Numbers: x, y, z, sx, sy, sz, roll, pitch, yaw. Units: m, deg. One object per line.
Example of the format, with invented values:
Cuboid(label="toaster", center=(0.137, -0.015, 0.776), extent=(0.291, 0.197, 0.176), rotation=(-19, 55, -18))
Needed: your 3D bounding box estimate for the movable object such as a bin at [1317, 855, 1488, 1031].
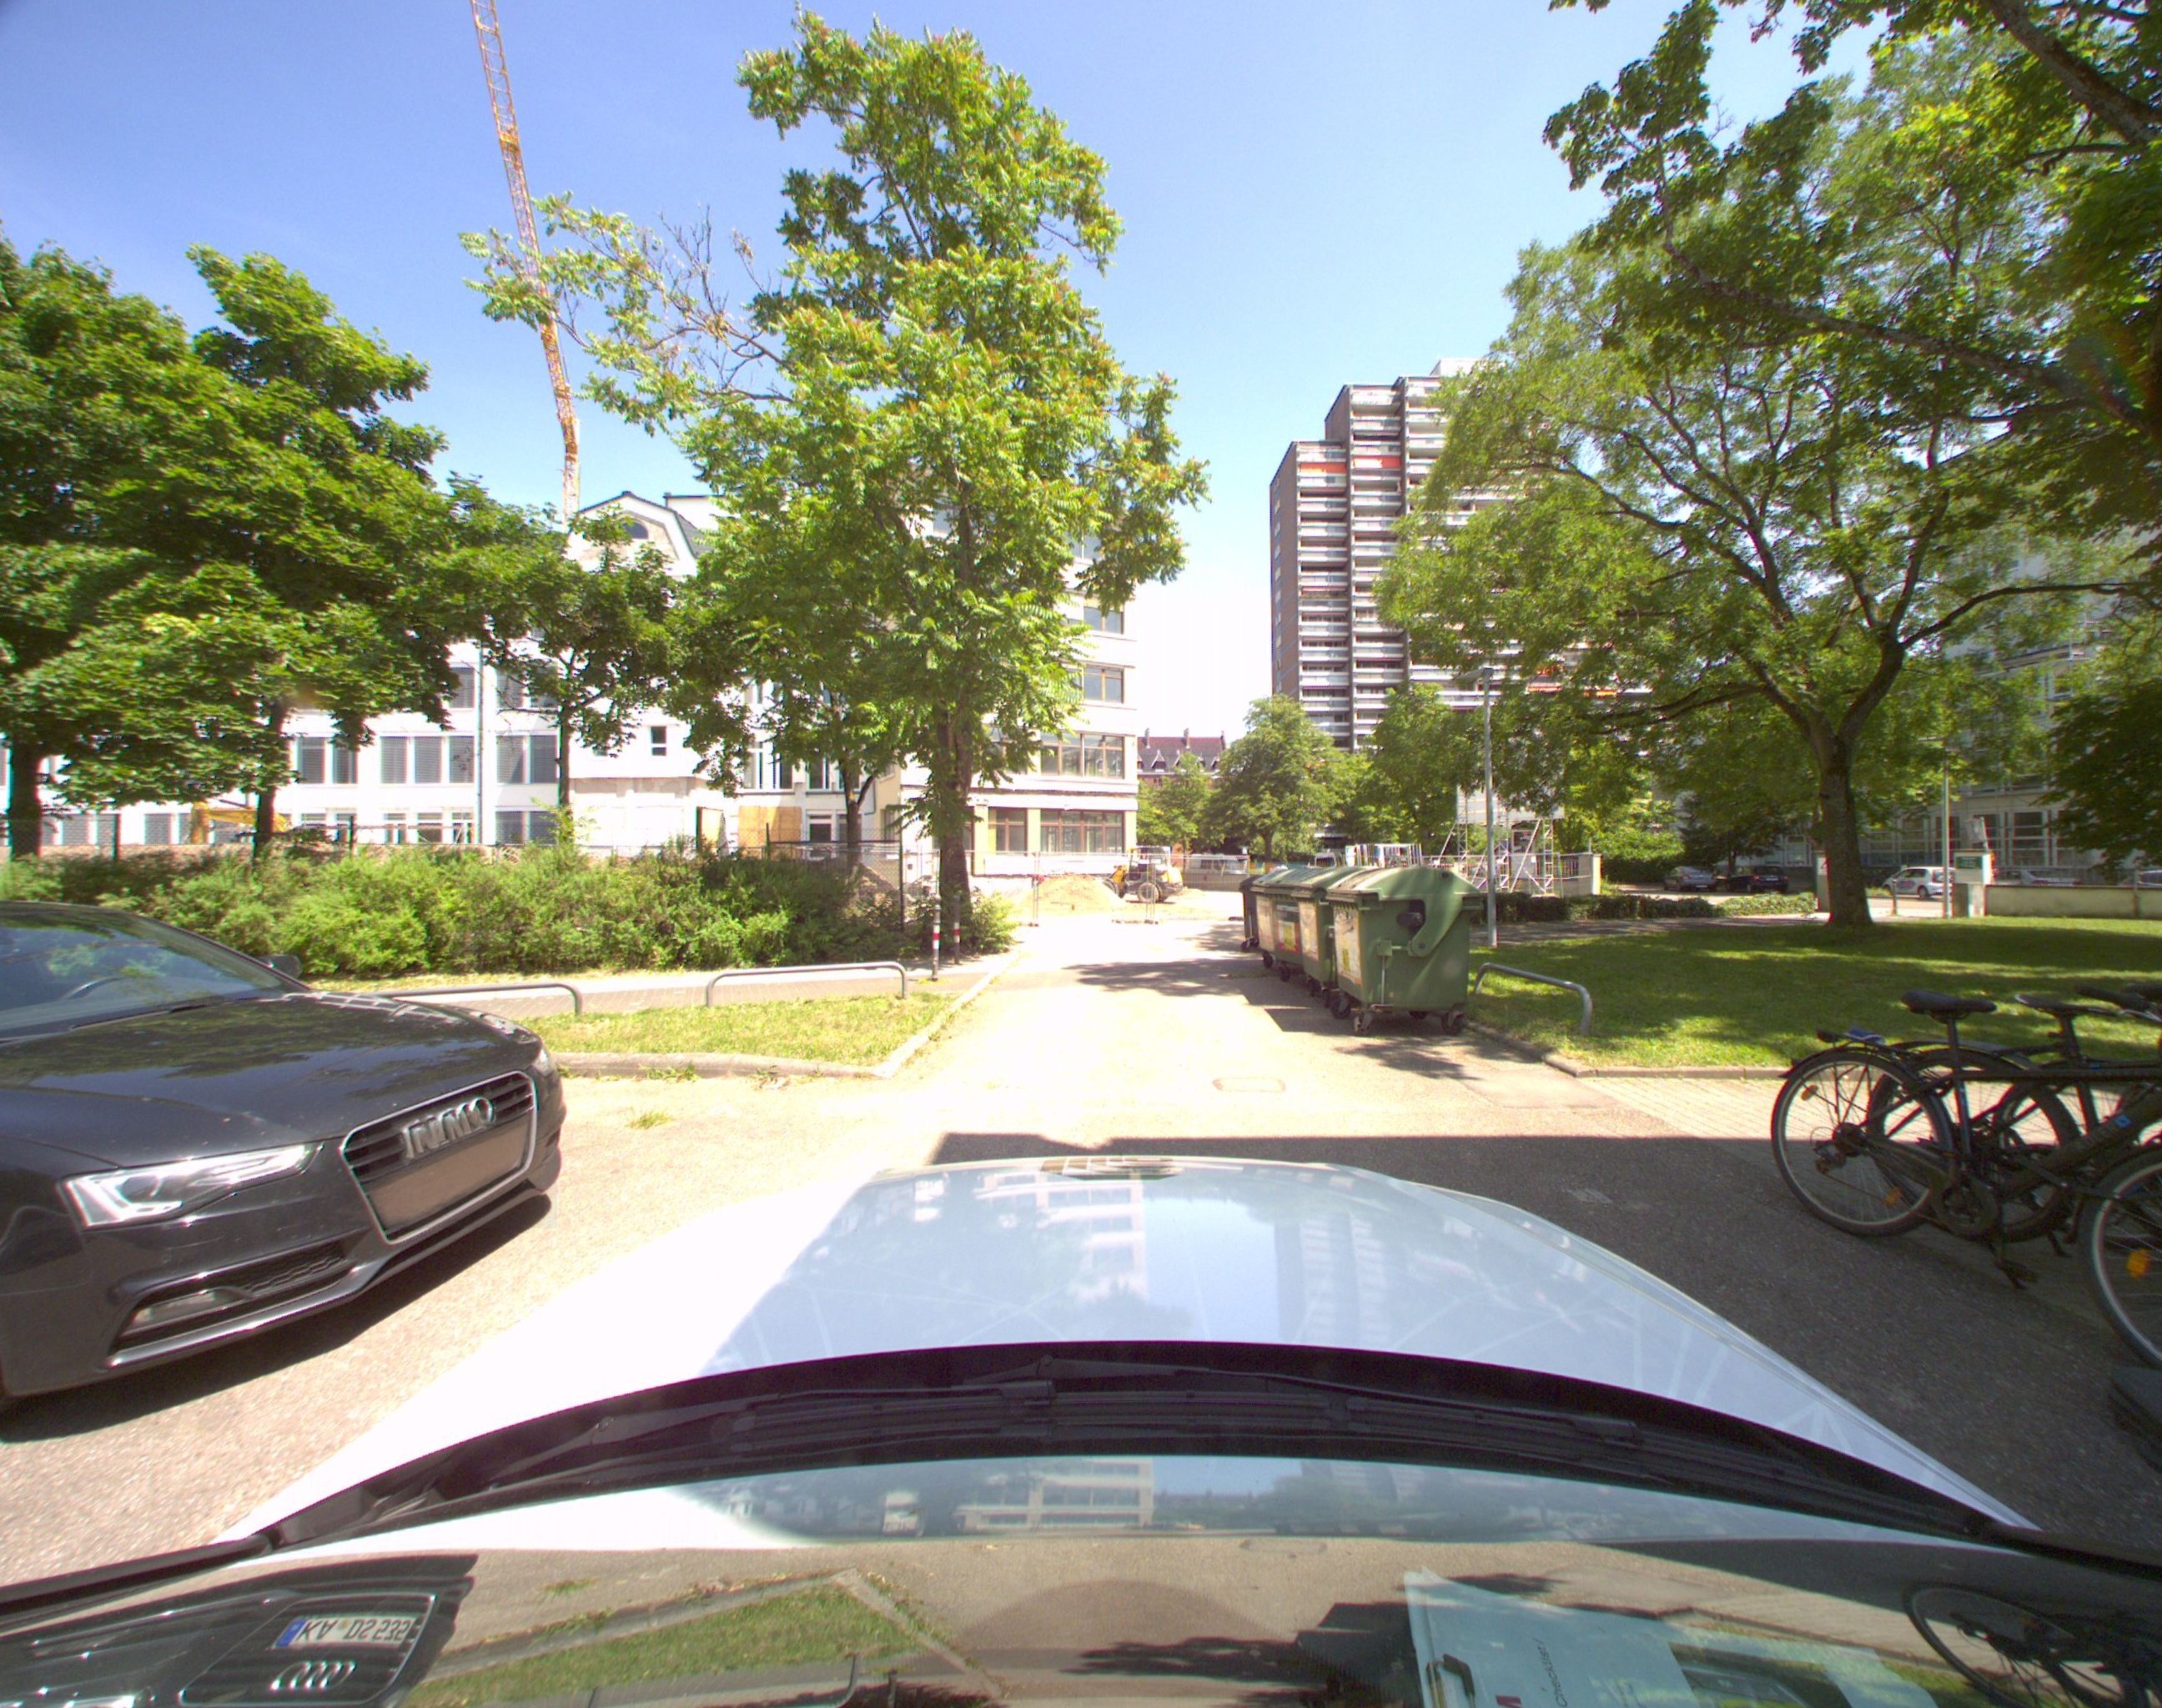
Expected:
Cuboid(label="movable object such as a bin", center=(2.877, 0.757, 7.484), extent=(1.071, 1.458, 1.378), rotation=(-1, -1, 3))

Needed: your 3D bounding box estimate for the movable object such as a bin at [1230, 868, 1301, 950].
Cuboid(label="movable object such as a bin", center=(3.447, 1.000, 15.316), extent=(1.071, 1.458, 1.378), rotation=(-1, -1, 3))

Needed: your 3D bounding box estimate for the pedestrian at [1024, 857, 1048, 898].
Cuboid(label="pedestrian", center=(-2.051, 1.057, 36.864), extent=(0.915, 1.847, 0.982), rotation=(0, -1, -13))

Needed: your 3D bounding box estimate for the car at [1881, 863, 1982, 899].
Cuboid(label="car", center=(39.454, 1.218, 37.903), extent=(1.651, 1.590, 3.709), rotation=(-1, -1, 17))

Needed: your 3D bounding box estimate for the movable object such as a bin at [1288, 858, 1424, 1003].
Cuboid(label="movable object such as a bin", center=(2.956, 0.786, 8.926), extent=(1.071, 1.458, 1.378), rotation=(-1, -1, 3))

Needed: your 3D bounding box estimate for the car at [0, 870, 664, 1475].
Cuboid(label="car", center=(-4.324, 0.809, 3.099), extent=(4.409, 1.380, 2.026), rotation=(-1, 1, 4))

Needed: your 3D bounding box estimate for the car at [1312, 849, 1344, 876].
Cuboid(label="car", center=(21.918, 0.778, 72.106), extent=(2.165, 2.258, 4.895), rotation=(-1, -1, 24))

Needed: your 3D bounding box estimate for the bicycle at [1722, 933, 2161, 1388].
Cuboid(label="bicycle", center=(3.140, 0.900, 2.844), extent=(0.403, 1.102, 1.827), rotation=(-1, -1, 2))

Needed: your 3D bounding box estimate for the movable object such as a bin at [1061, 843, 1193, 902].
Cuboid(label="movable object such as a bin", center=(2.049, 0.776, 36.542), extent=(5.352, 2.464, 2.382), rotation=(1, -1, 29))

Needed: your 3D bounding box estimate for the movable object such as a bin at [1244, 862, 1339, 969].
Cuboid(label="movable object such as a bin", center=(3.019, 0.859, 11.820), extent=(1.071, 1.458, 1.378), rotation=(-1, -1, 3))

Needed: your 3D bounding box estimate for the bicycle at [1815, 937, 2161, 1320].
Cuboid(label="bicycle", center=(3.609, 0.920, 2.884), extent=(0.403, 1.102, 1.827), rotation=(-1, -1, 2))

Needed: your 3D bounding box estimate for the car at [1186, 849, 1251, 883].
Cuboid(label="car", center=(10.131, 0.906, 60.437), extent=(2.004, 2.416, 5.197), rotation=(0, -1, -27))

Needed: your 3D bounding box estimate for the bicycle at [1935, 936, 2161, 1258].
Cuboid(label="bicycle", center=(4.121, 0.915, 2.840), extent=(0.403, 1.102, 1.827), rotation=(-1, -1, 2))

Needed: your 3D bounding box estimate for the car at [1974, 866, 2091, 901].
Cuboid(label="car", center=(40.615, 1.234, 34.884), extent=(1.650, 1.415, 3.730), rotation=(-1, -1, 21))

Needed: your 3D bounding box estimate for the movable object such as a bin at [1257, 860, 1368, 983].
Cuboid(label="movable object such as a bin", center=(2.905, 0.816, 10.400), extent=(1.071, 1.458, 1.378), rotation=(-1, -1, 3))

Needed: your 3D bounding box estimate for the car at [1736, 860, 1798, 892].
Cuboid(label="car", center=(36.572, 1.167, 43.511), extent=(1.992, 1.629, 3.955), rotation=(-1, -1, 32))

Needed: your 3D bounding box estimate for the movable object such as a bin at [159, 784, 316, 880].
Cuboid(label="movable object such as a bin", center=(-40.079, -0.991, 38.776), extent=(5.677, 4.373, 2.003), rotation=(-1, -1, 5))

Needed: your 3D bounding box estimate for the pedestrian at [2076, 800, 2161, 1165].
Cuboid(label="pedestrian", center=(5.442, 0.612, 3.864), extent=(0.548, 1.749, 0.690), rotation=(-1, -1, 3))

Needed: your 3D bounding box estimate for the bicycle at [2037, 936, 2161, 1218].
Cuboid(label="bicycle", center=(4.557, 0.911, 2.805), extent=(0.403, 1.102, 1.827), rotation=(-1, -1, 2))

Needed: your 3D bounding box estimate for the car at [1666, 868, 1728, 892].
Cuboid(label="car", center=(34.829, 1.460, 46.151), extent=(1.897, 1.310, 3.952), rotation=(-1, -1, 23))
